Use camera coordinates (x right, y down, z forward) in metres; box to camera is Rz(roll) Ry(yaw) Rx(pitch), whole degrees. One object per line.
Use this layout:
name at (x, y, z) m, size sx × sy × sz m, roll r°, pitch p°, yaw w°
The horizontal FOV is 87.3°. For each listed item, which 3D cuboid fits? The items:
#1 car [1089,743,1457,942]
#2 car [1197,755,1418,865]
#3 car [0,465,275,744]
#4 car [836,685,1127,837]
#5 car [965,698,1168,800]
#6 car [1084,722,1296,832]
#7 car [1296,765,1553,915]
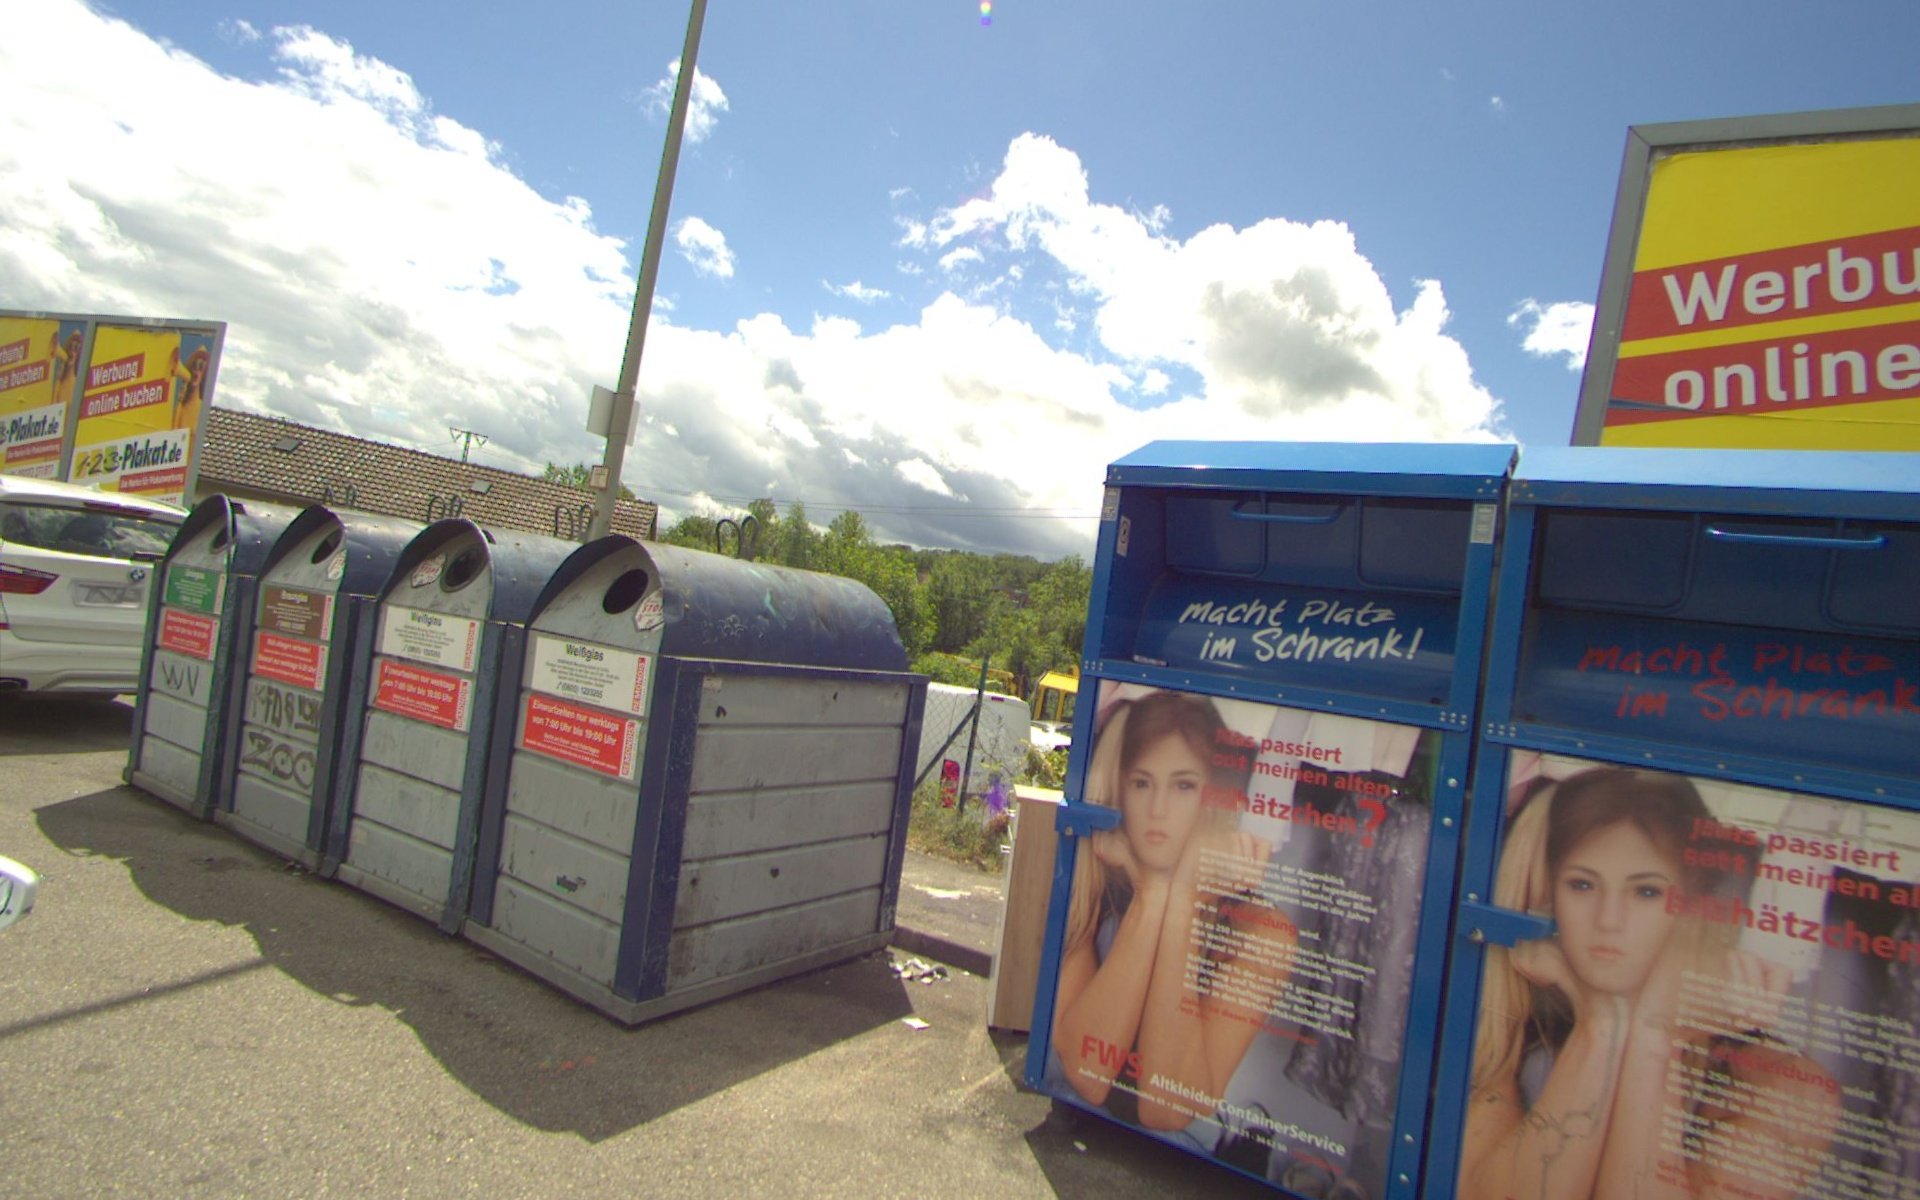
car at (3.884, 2.969, 12.999) m, size 1.691 × 1.462 × 4.102 m, roll 11°, pitch -4°, yaw -43°
car at (5.954, 3.516, 17.029) m, size 3.976 × 1.345 × 1.735 m, roll 10°, pitch -3°, yaw -42°
car at (-7.452, -0.121, 7.655) m, size 4.402 × 1.678 × 1.690 m, roll 7°, pitch -2°, yaw 28°
car at (0.222, 2.465, 16.197) m, size 4.519 × 1.535 × 1.749 m, roll 6°, pitch -2°, yaw 42°
car at (2.231, 3.070, 20.477) m, size 3.976 × 1.630 × 1.775 m, roll 10°, pitch -3°, yaw -42°
car at (4.392, 3.323, 18.889) m, size 3.976 × 1.576 × 1.802 m, roll 10°, pitch -3°, yaw -42°
car at (7.116, 3.487, 15.182) m, size 4.438 × 1.572 × 1.975 m, roll 11°, pitch -3°, yaw -44°
